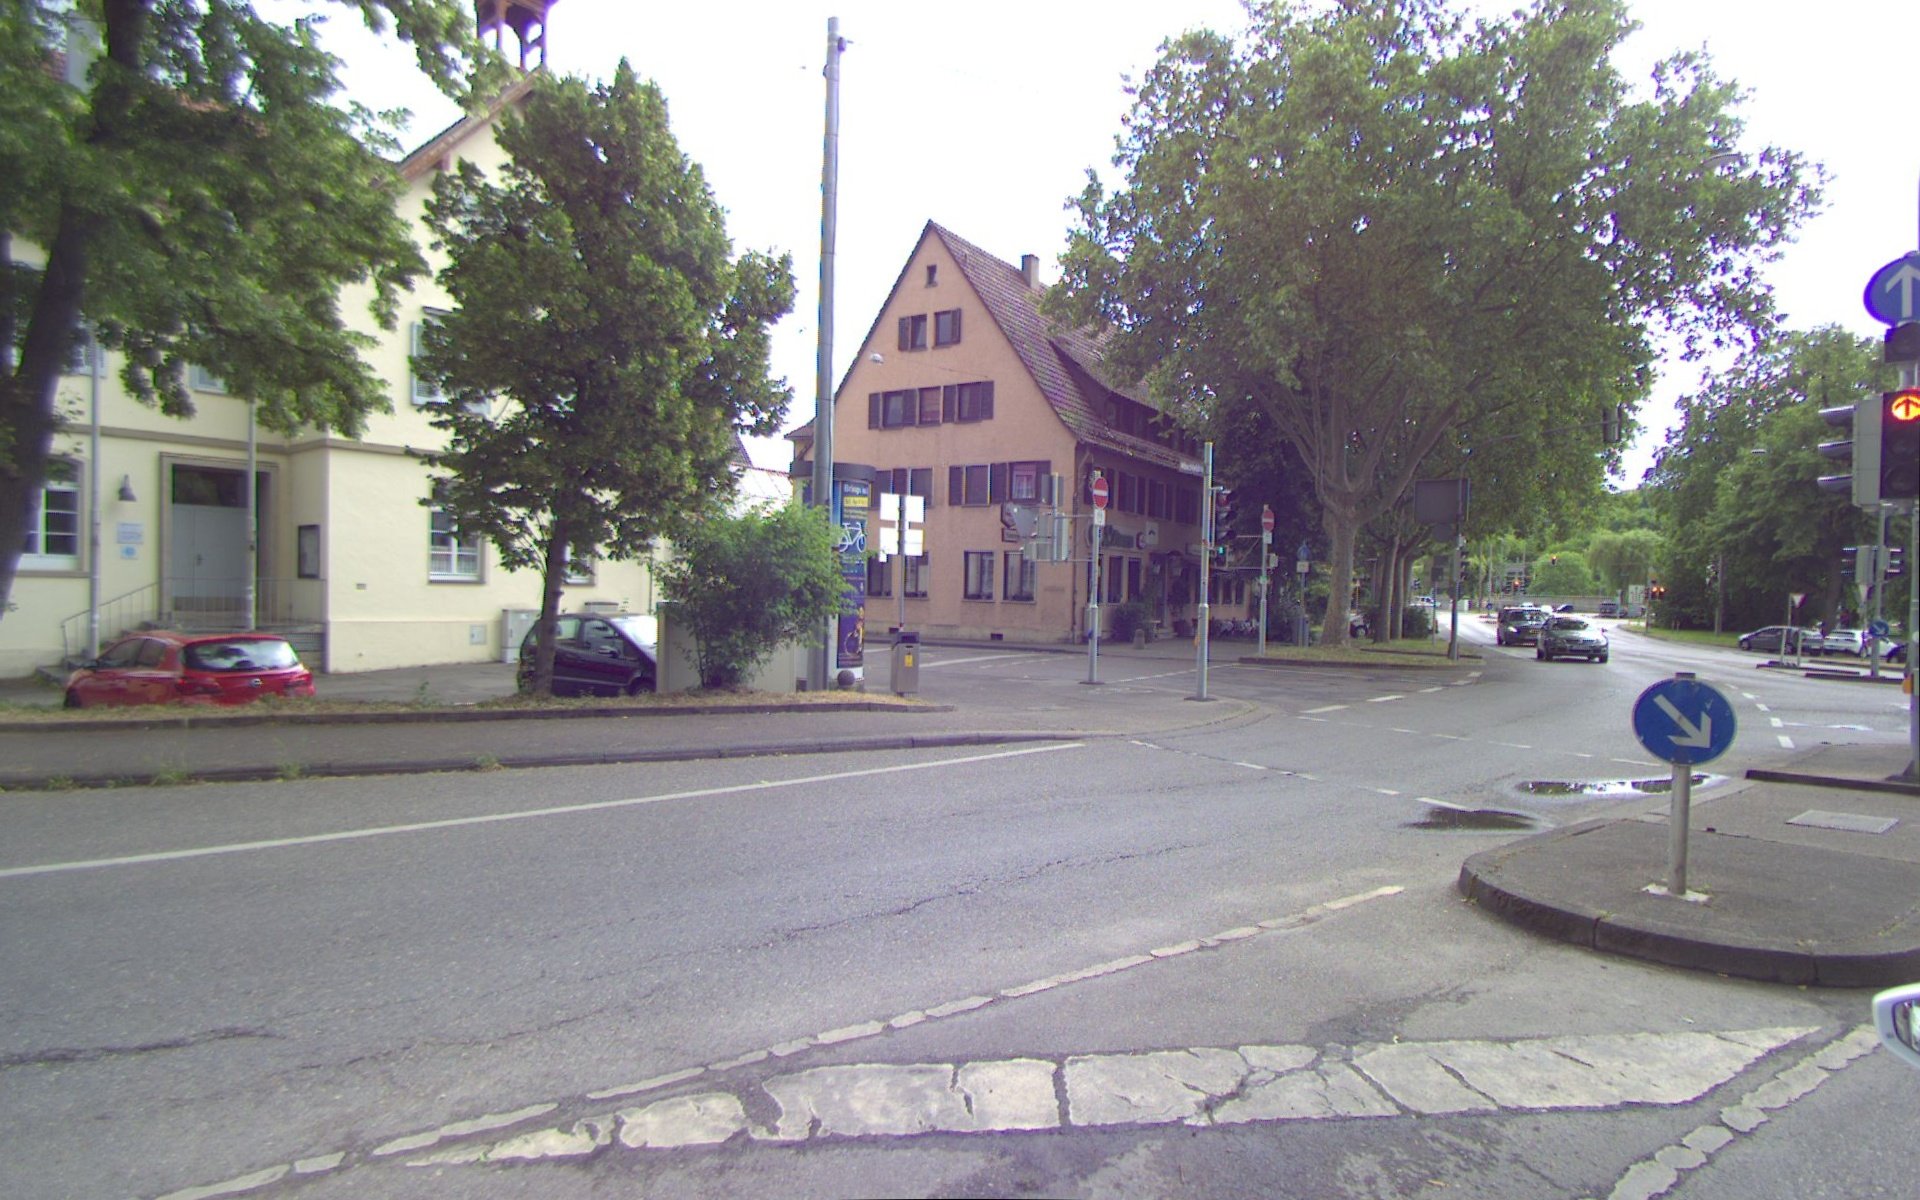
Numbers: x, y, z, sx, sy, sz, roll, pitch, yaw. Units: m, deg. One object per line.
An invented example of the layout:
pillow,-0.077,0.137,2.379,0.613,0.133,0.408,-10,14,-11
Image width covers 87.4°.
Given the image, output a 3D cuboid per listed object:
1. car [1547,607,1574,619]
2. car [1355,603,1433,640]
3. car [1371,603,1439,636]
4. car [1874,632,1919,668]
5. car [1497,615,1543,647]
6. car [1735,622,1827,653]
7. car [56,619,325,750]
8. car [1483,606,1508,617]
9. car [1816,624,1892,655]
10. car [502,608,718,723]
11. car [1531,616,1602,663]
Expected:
car,108.235,2.314,181.090,3.928,2.040,1.996,2,0,30
car,21.410,1.048,49.585,3.387,1.663,1.570,2,0,28
car,25.472,1.087,57.469,3.387,1.765,1.570,2,0,28
car,39.571,2.079,40.946,1.442,1.412,3.596,2,0,3
car,26.876,1.482,48.273,1.404,1.435,2.872,1,-1,19
car,43.865,1.969,53.762,1.559,1.484,3.543,2,0,-17
car,-10.174,1.015,13.249,3.492,1.397,1.605,2,0,30
car,100.721,2.124,188.936,3.928,2.040,1.996,2,0,30
car,47.304,2.083,53.162,3.342,1.484,1.543,2,0,-19
car,-5.763,1.008,16.597,3.035,1.654,1.607,2,0,22
car,20.034,1.269,33.273,1.404,1.435,2.872,1,-1,19
